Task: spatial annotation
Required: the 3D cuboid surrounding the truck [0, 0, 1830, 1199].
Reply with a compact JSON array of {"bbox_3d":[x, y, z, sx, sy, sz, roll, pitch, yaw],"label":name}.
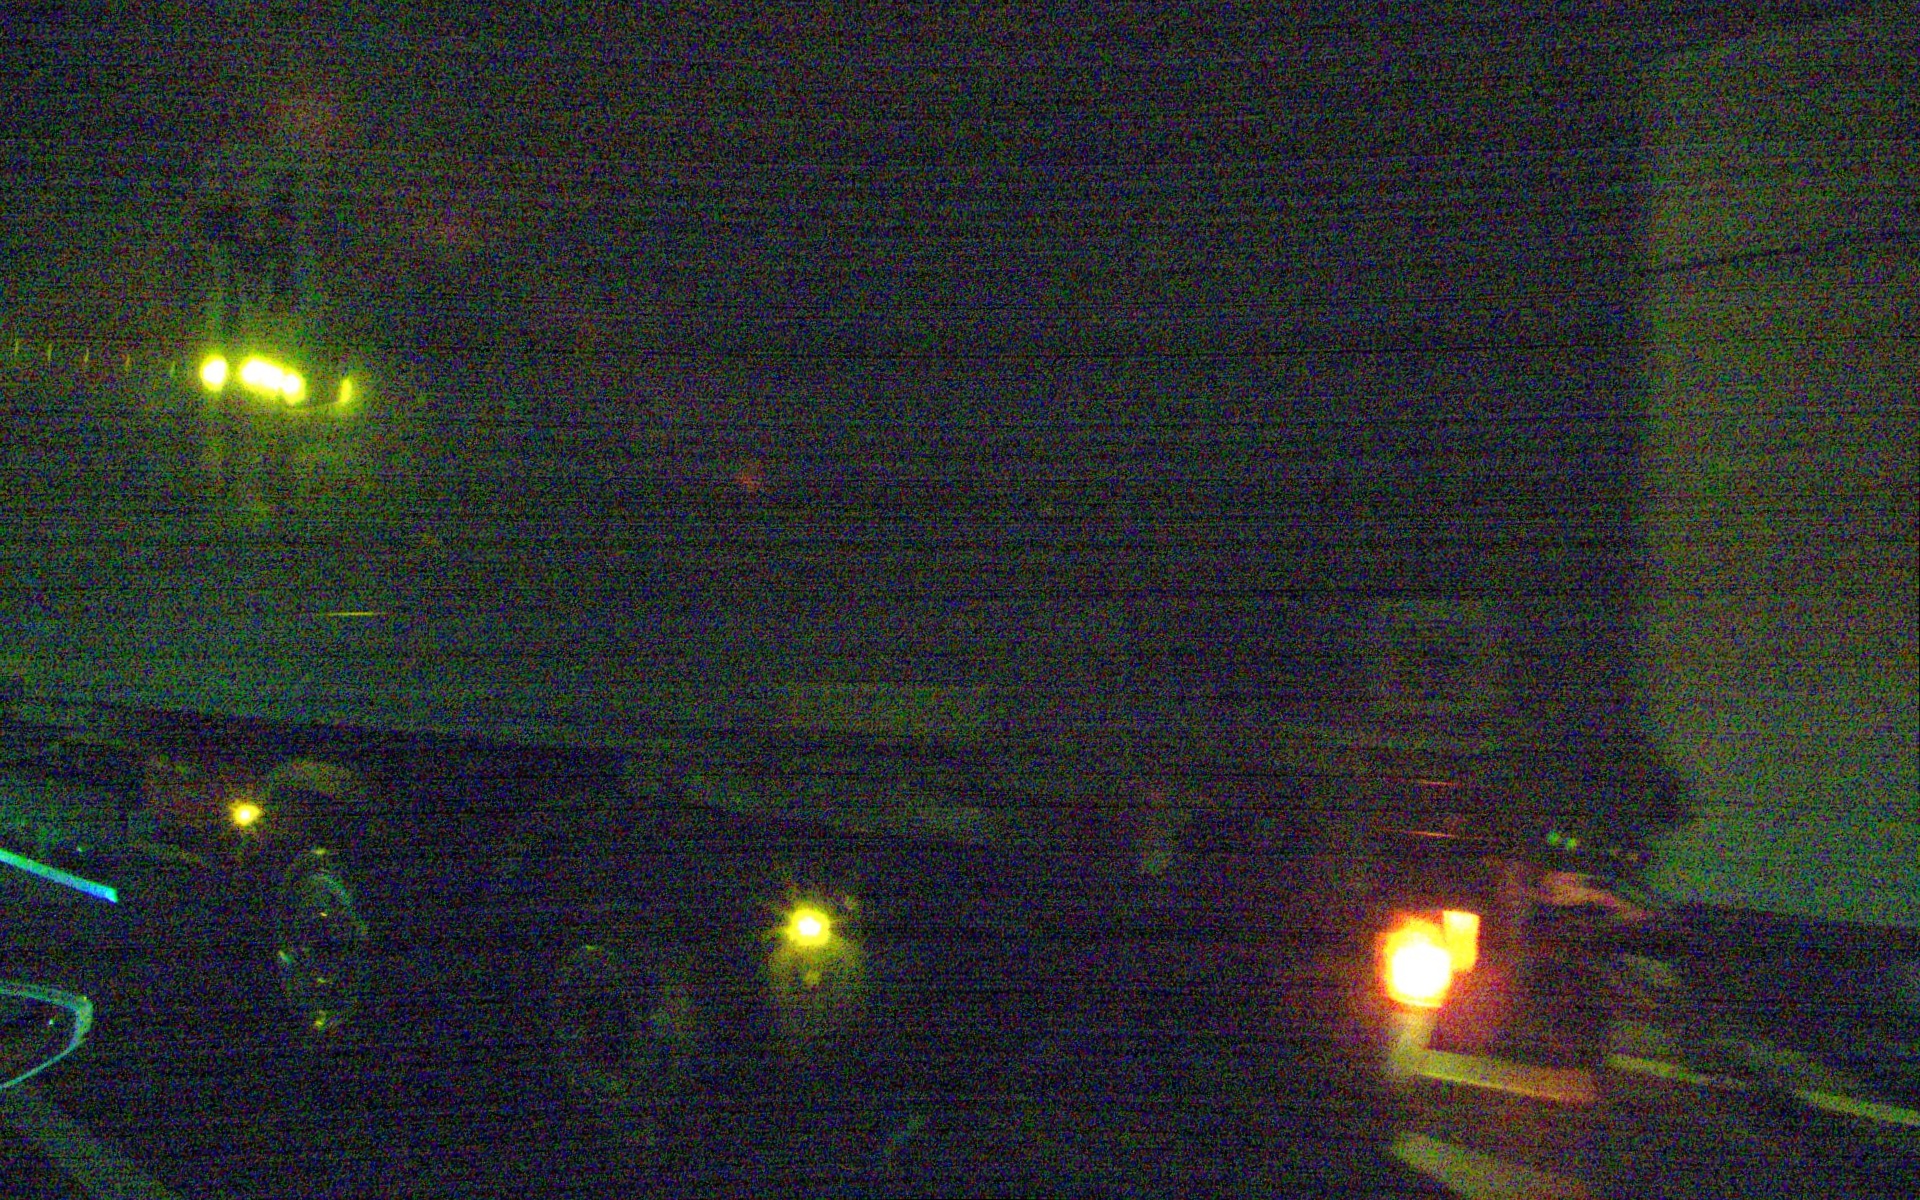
[{"bbox_3d":[-2.468,-0.436,4.874,9.769,3.965,2.882,-1,0,33],"label":"truck"}]
